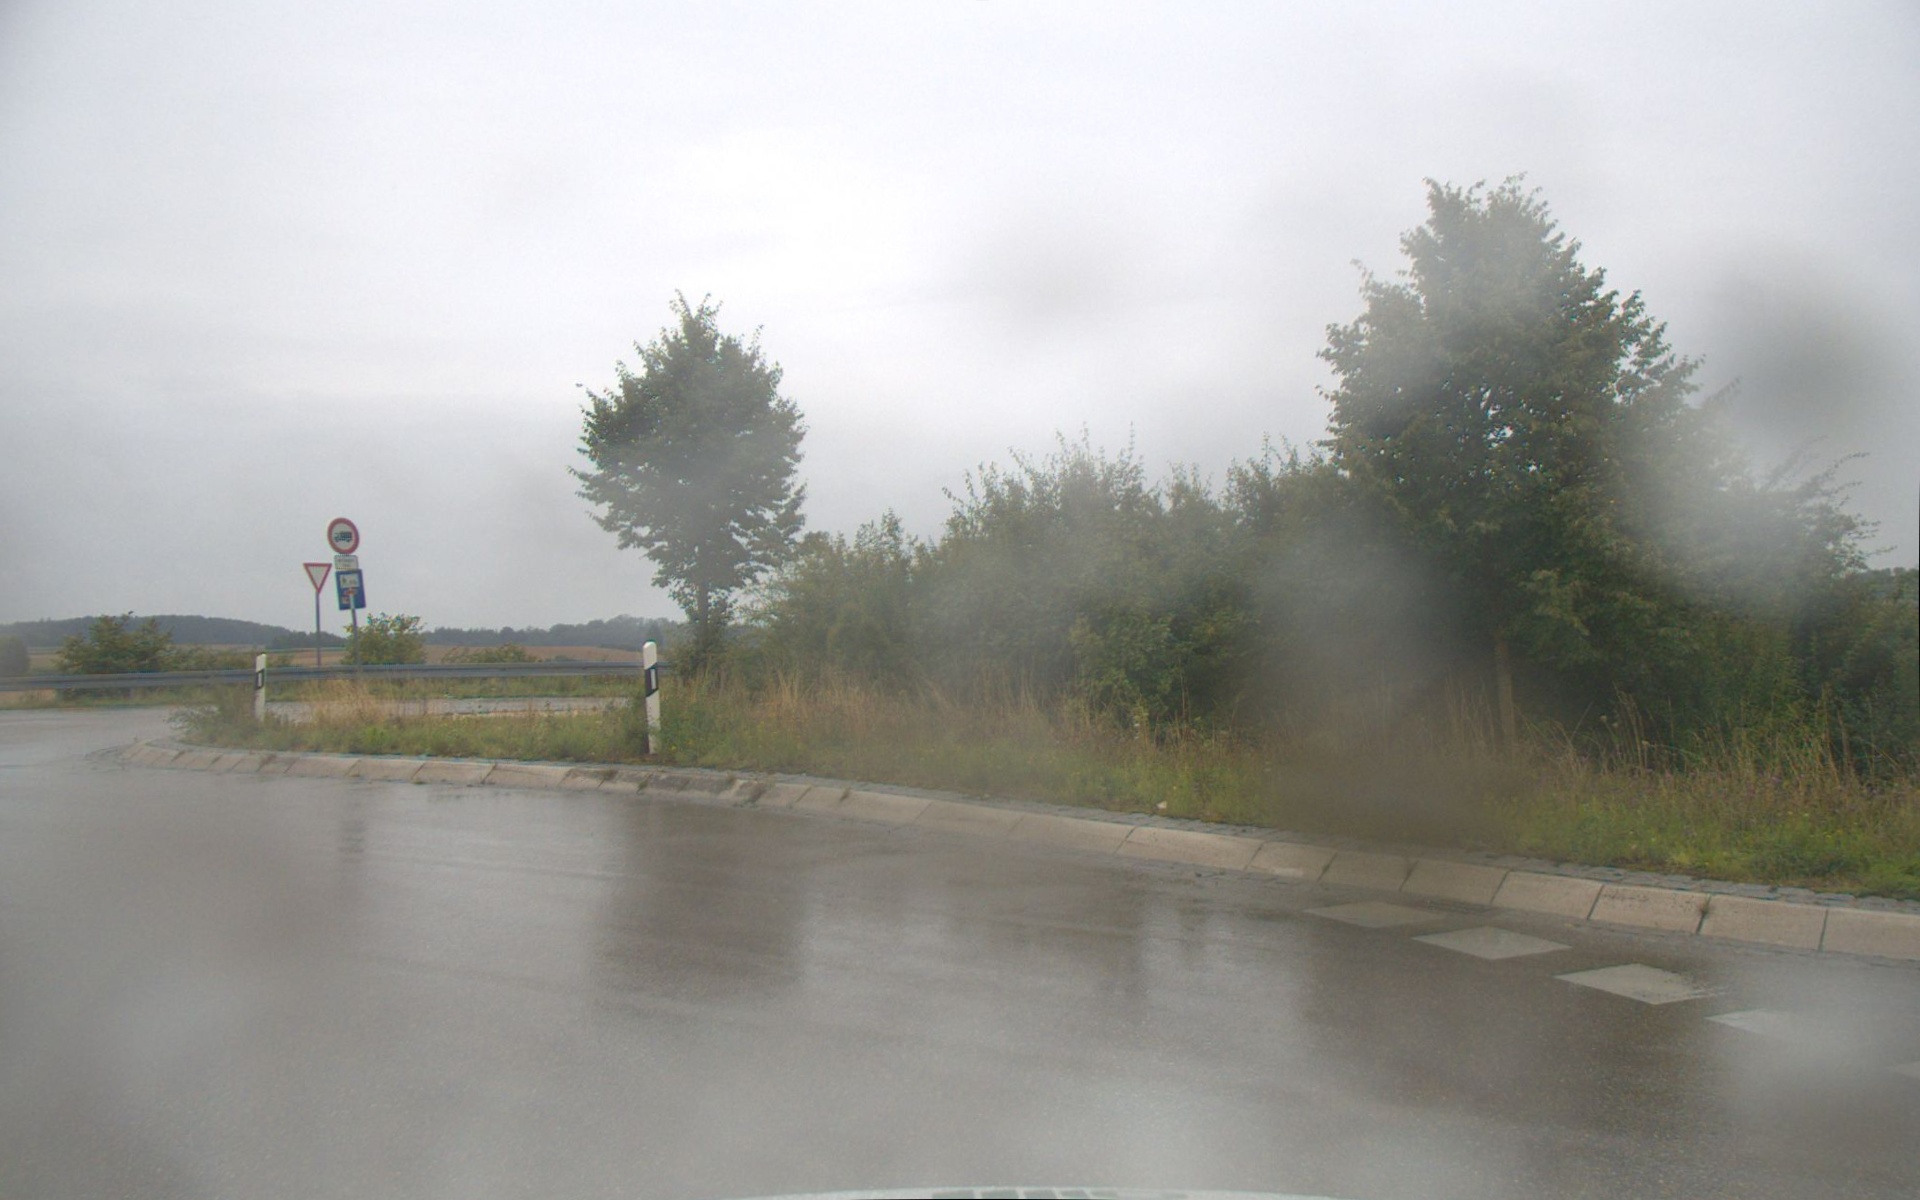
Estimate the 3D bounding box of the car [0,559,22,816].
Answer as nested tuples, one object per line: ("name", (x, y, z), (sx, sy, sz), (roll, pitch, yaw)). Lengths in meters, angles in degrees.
("car", (-9.680, 0.683, 12.325), (4.859, 1.903, 2.000), (-1, 0, 20))
